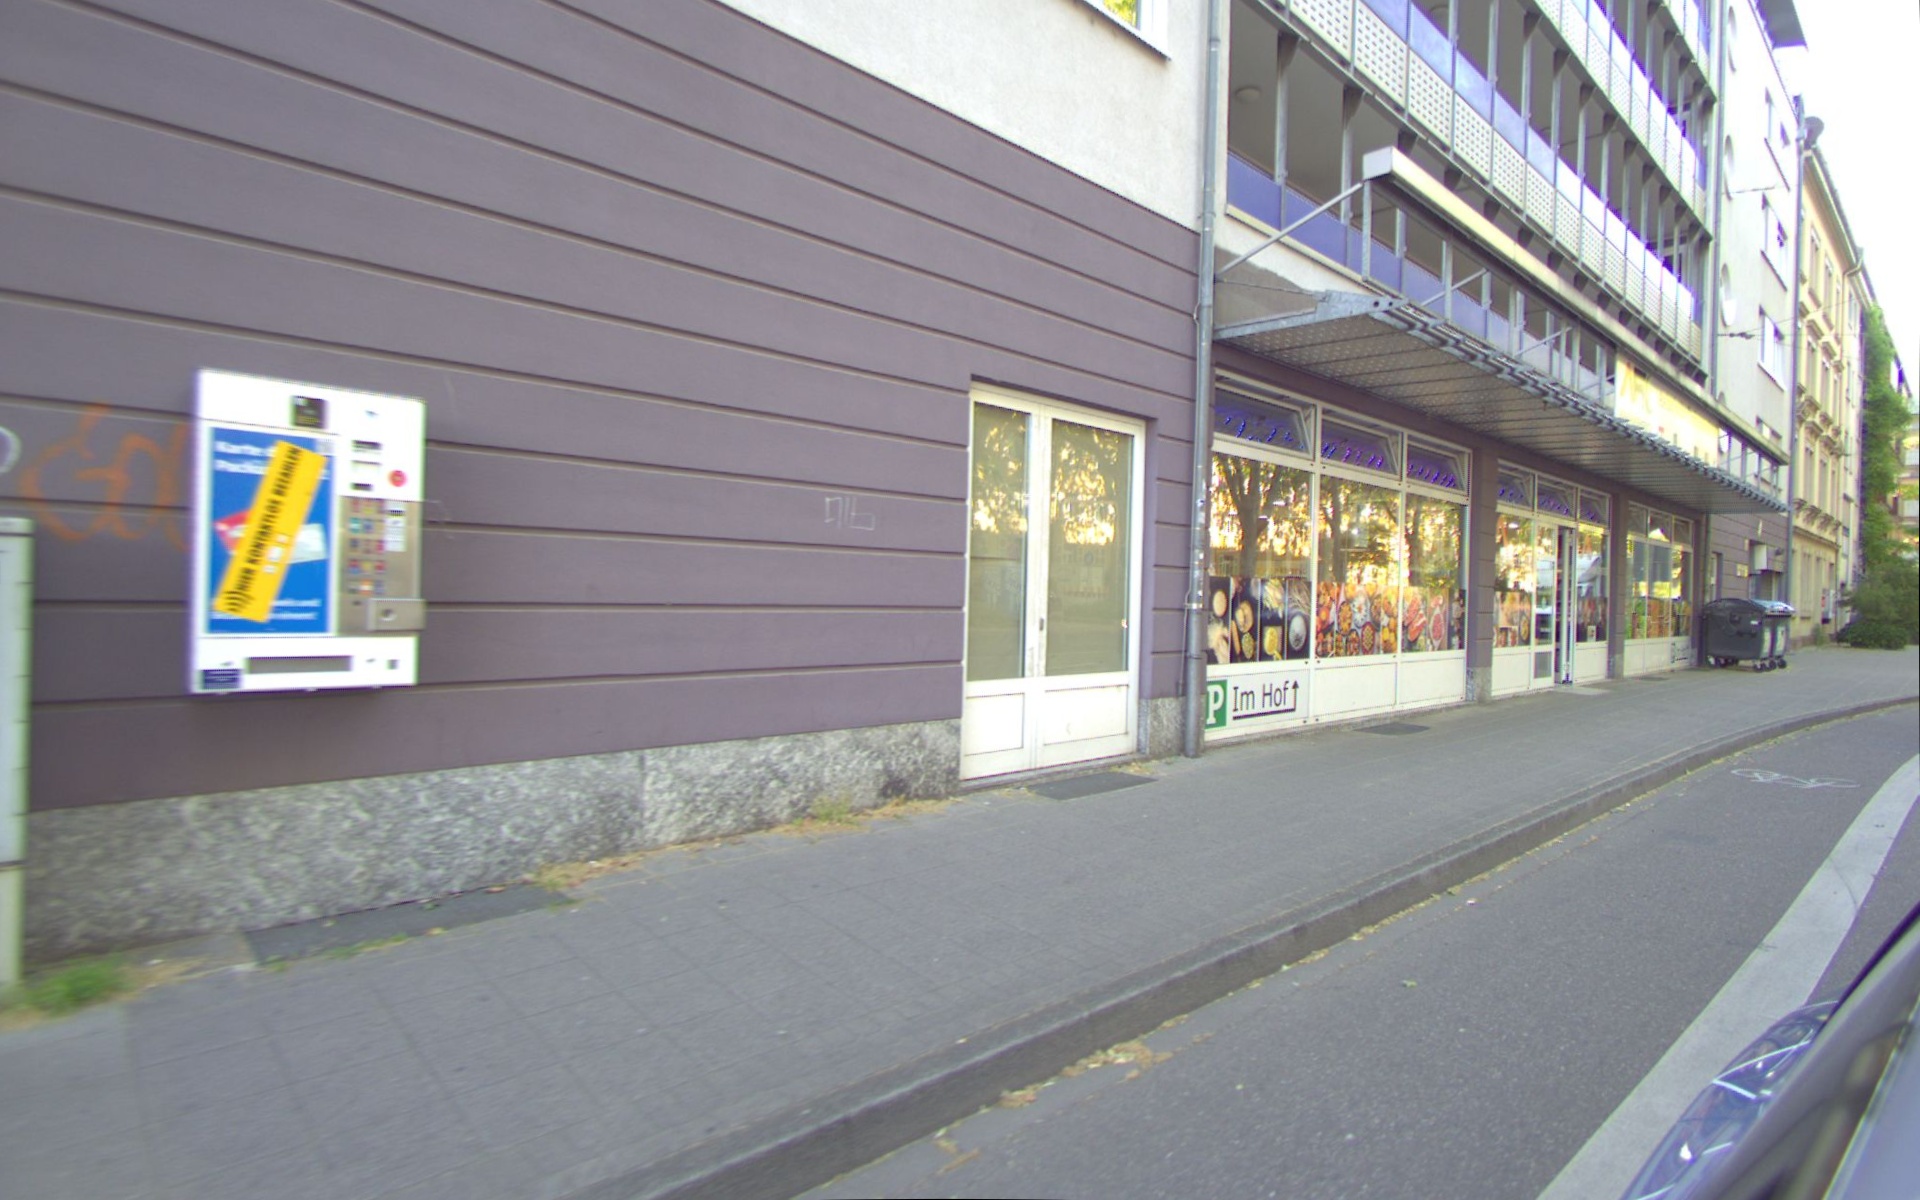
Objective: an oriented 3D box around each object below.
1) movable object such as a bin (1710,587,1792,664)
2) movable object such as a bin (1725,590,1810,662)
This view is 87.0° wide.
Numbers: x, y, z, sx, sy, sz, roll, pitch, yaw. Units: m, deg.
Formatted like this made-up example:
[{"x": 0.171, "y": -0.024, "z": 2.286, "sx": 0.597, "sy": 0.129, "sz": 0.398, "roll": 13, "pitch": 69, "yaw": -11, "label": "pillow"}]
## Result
[{"x": 15.847, "y": 0.486, "z": 20.276, "sx": 1.274, "sy": 1.465, "sz": 1.068, "roll": 1, "pitch": 1, "yaw": -42, "label": "movable object such as a bin"}, {"x": 17.199, "y": 0.532, "z": 21.559, "sx": 1.282, "sy": 1.464, "sz": 1.123, "roll": 1, "pitch": 1, "yaw": -37, "label": "movable object such as a bin"}]
